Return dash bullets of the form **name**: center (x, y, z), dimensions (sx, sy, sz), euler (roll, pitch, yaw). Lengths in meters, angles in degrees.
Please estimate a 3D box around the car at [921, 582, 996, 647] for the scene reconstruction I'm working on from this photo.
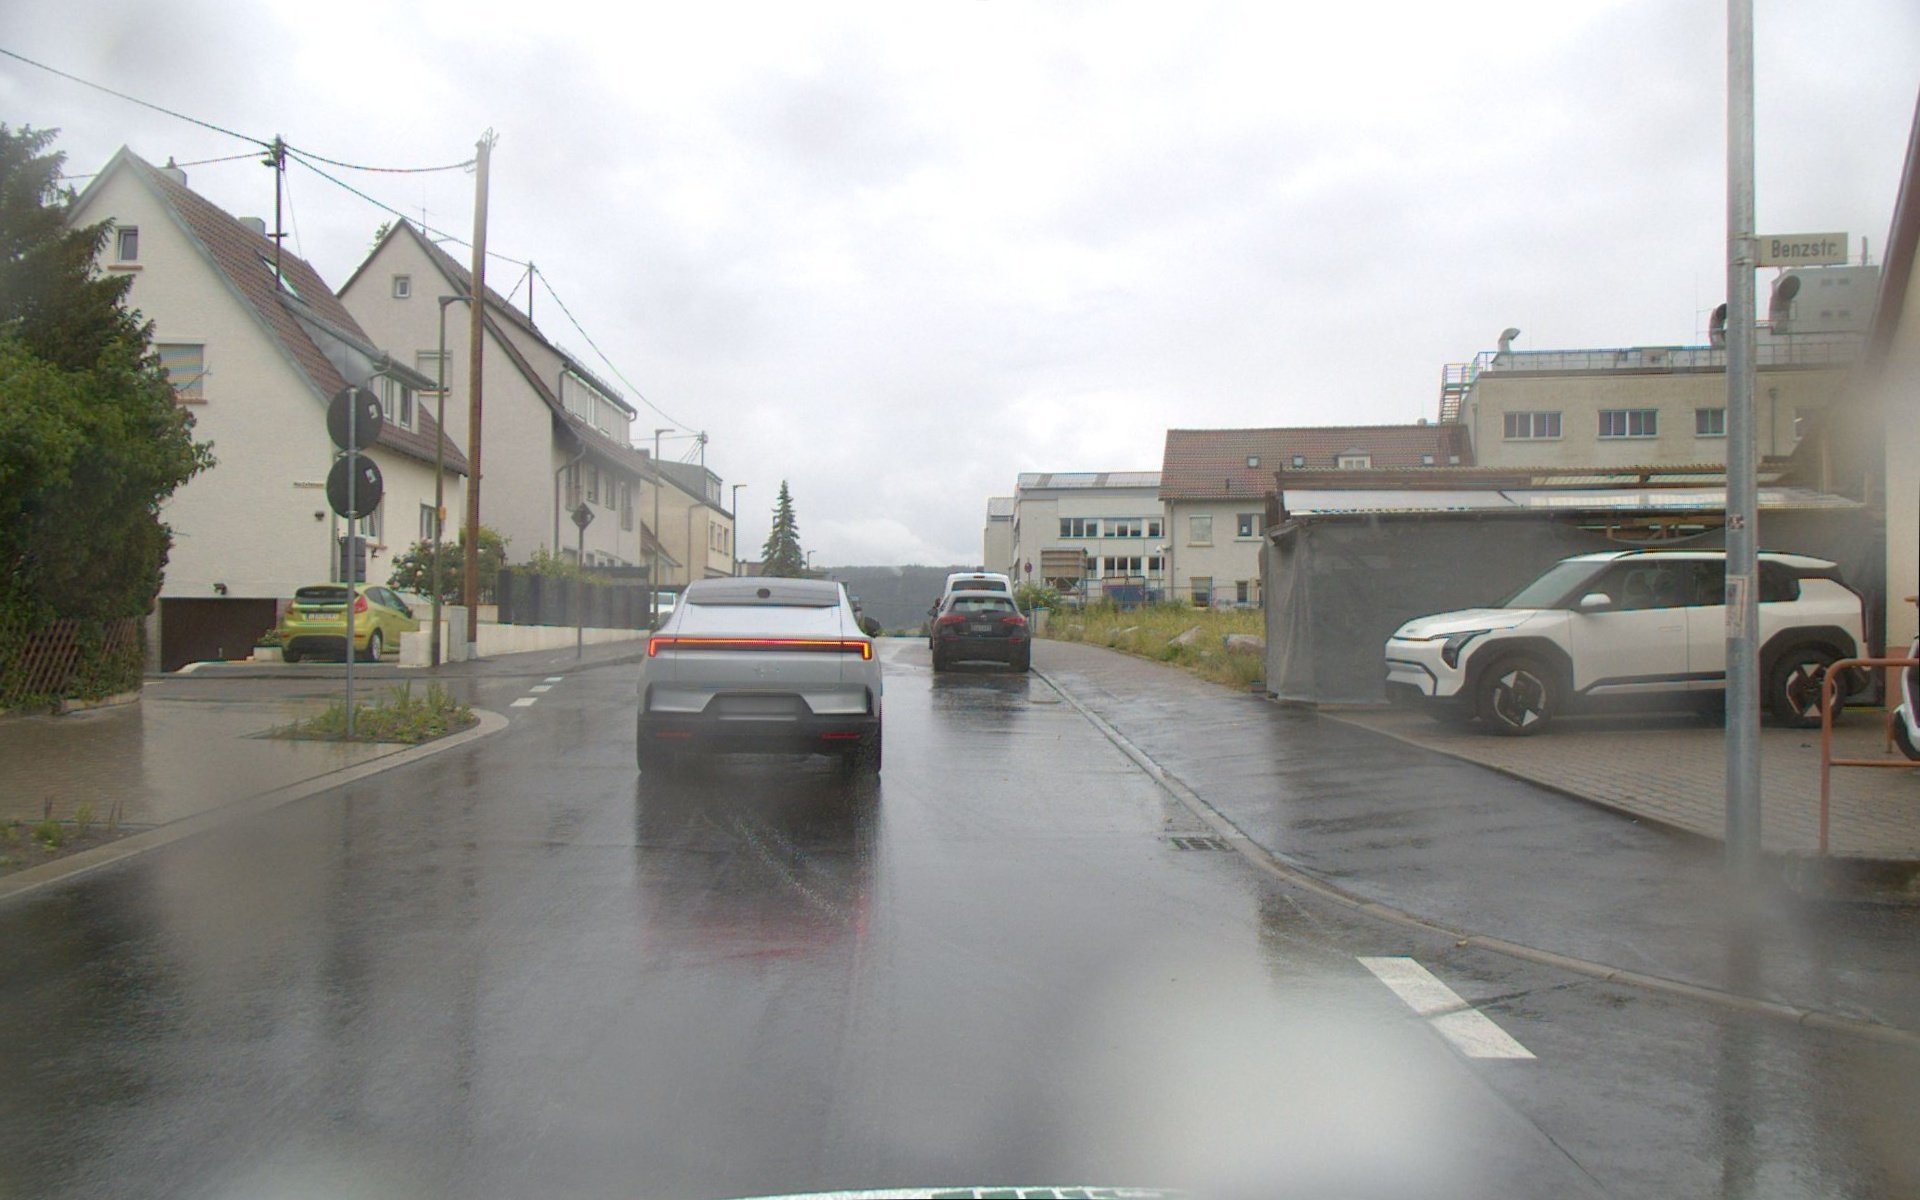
- **car**: center (-0.088, 0.375, 44.445), dimensions (1.610, 1.602, 4.638), euler (1, 0, -5)

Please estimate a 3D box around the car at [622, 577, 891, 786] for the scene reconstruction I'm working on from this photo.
- **car**: center (-1.700, 0.618, 14.507), dimensions (1.955, 1.528, 4.664), euler (1, 0, -5)

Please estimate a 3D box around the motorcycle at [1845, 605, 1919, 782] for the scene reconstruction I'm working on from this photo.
- **motorcycle**: center (6.378, 0.608, 10.551), dimensions (0.477, 1.115, 2.001), euler (1, 1, 3)

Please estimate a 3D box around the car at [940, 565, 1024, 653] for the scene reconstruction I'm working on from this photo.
- **car**: center (0.449, 0.200, 38.025), dimensions (1.733, 1.857, 4.573), euler (1, 0, -1)

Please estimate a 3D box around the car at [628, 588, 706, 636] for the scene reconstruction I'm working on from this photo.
- **car**: center (-10.561, 0.453, 59.970), dimensions (1.953, 1.536, 4.894), euler (4, -1, -1)

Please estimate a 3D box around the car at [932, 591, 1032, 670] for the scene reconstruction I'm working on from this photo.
- **car**: center (0.353, 0.552, 31.309), dimensions (1.733, 1.359, 4.319), euler (1, 0, -1)

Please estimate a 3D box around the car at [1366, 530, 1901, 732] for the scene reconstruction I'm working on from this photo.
- **car**: center (6.067, 0.272, 15.232), dimensions (4.132, 1.638, 1.860), euler (-1, -1, -3)

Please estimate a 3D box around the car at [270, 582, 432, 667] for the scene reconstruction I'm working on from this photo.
- **car**: center (-11.413, 0.468, 31.234), dimensions (1.742, 1.493, 3.456), euler (1, -1, 0)
